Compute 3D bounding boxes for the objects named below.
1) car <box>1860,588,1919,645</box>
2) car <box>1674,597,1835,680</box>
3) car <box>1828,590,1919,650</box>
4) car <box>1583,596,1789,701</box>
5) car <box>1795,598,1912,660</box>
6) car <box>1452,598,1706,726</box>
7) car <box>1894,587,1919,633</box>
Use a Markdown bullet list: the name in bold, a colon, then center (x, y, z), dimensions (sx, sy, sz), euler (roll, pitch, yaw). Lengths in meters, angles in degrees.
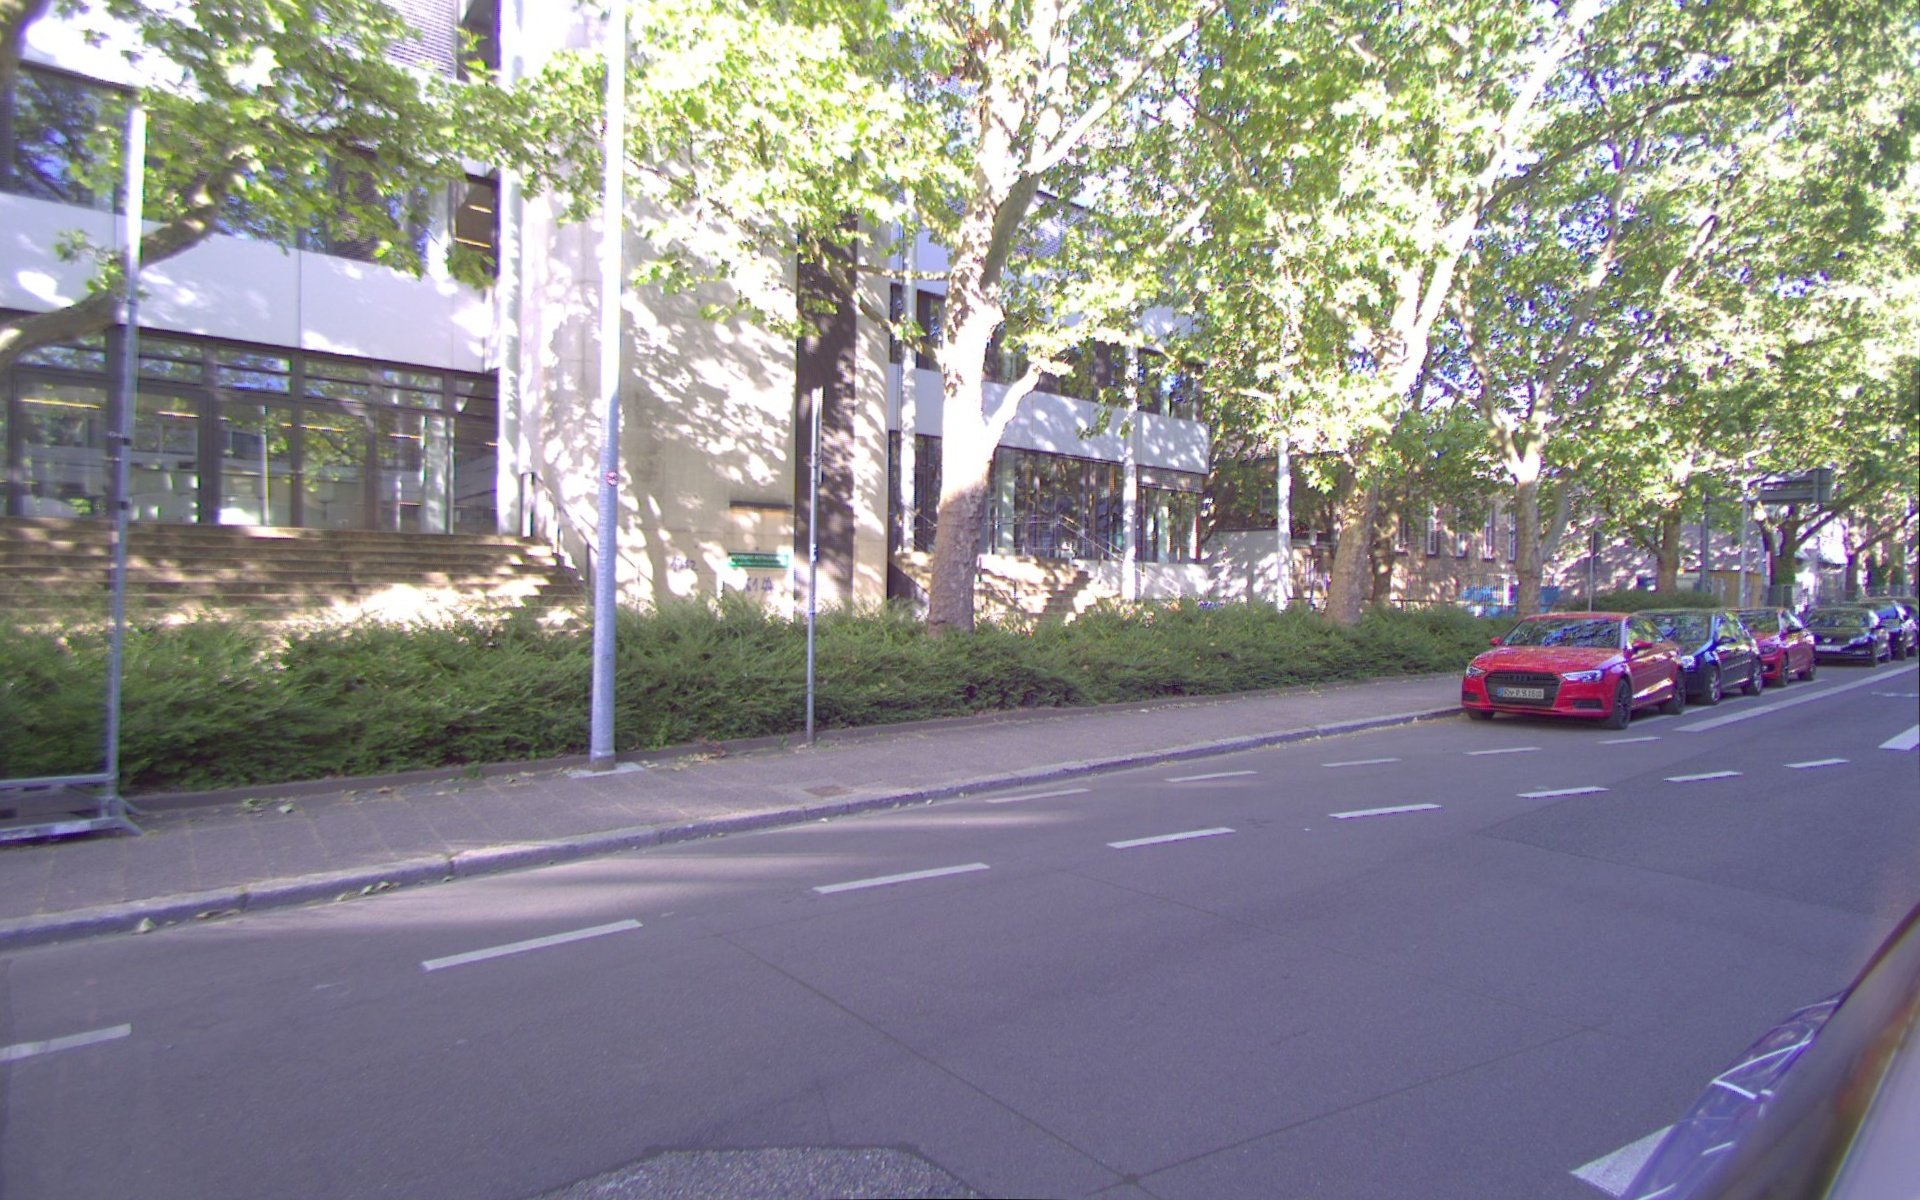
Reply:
- **car**: center (31.074, 0.484, 33.049), dimensions (4.188, 1.747, 1.997), euler (-1, 0, -41)
- **car**: center (15.749, 0.676, 20.005), dimensions (3.930, 1.456, 1.789), euler (0, 1, -41)
- **car**: center (26.639, 0.527, 29.188), dimensions (4.158, 1.601, 1.847), euler (0, 1, -41)
- **car**: center (11.933, 0.695, 16.549), dimensions (3.929, 1.475, 1.812), euler (0, 1, -40)
- **car**: center (22.975, 0.683, 25.990), dimensions (3.930, 1.456, 1.744), euler (0, 1, -41)
- **car**: center (8.328, 0.700, 13.473), dimensions (4.101, 1.443, 1.773), euler (0, -1, -42)
- **car**: center (35.732, 0.365, 37.070), dimensions (4.004, 1.638, 1.797), euler (0, 1, -41)
